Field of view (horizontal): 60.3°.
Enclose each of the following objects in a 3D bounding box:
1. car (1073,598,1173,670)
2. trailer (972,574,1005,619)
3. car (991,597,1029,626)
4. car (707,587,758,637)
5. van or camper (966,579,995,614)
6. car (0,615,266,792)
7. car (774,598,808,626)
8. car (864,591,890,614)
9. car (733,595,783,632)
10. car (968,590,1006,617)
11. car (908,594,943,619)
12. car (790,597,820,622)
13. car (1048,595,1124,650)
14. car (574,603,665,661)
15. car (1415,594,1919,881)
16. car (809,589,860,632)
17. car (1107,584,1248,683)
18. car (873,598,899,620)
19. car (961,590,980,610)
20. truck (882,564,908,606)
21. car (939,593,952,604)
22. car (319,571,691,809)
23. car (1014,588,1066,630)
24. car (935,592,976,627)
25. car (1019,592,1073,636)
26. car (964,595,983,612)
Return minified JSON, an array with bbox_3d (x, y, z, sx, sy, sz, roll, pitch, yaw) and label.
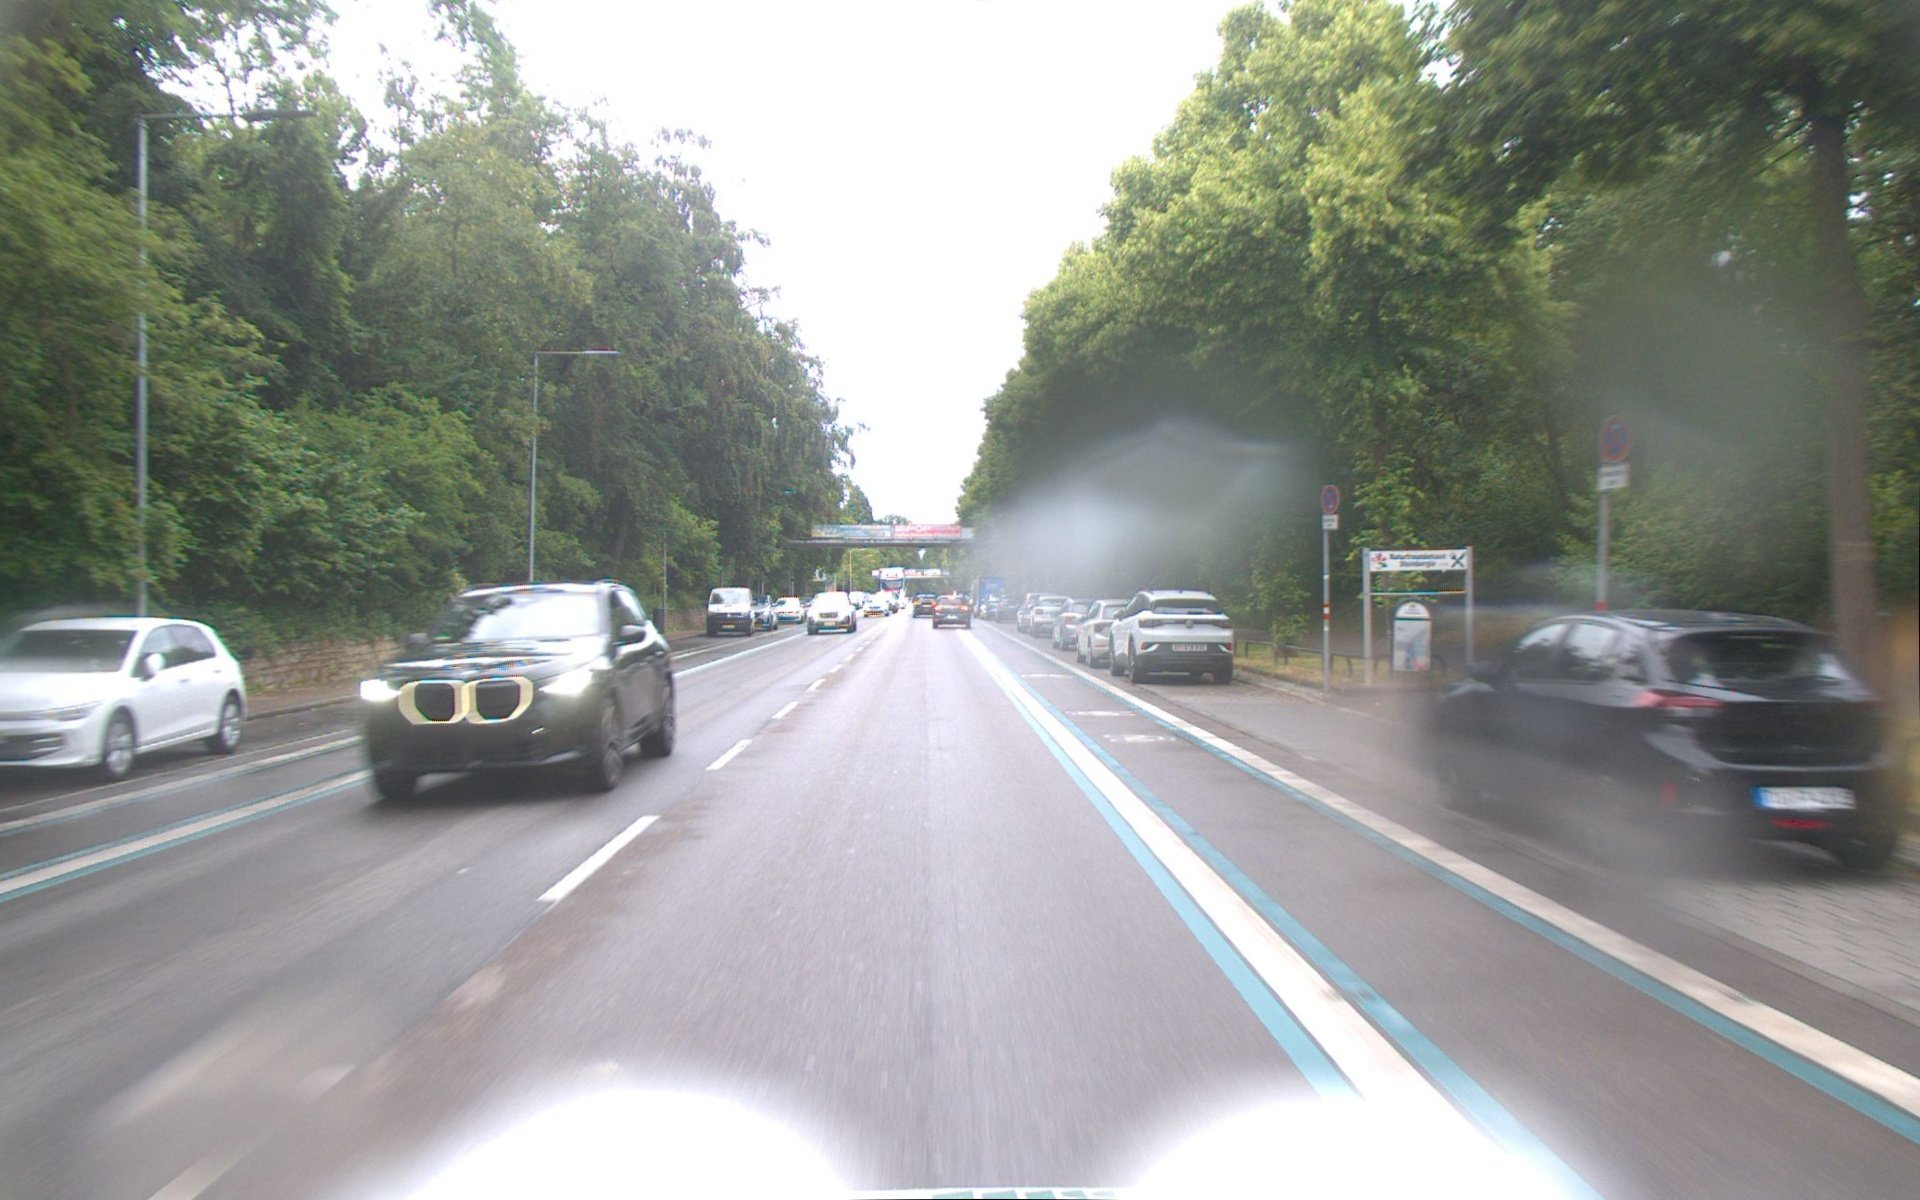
[{"bbox_3d":[3.571,0.716,36.815,1.664,1.479,3.944,1,0,-3],"label":"car"},{"bbox_3d":[1.790,-0.231,104.856,1.913,2.807,4.006,0,0,-1],"label":"trailer"},{"bbox_3d":[2.707,0.608,90.123,1.788,1.529,4.569,1,0,-2],"label":"car"},{"bbox_3d":[-9.545,0.472,69.678,1.935,2.040,5.013,0,0,-6],"label":"car"},{"bbox_3d":[1.633,-0.255,135.846,2.001,2.777,6.897,1,0,-2],"label":"van or camper"},{"bbox_3d":[-8.638,0.929,16.539,1.719,1.460,4.354,-1,0,-3],"label":"car"},{"bbox_3d":[-9.699,0.696,95.292,1.753,1.508,3.980,-1,1,-3],"label":"car"},{"bbox_3d":[-5.756,0.176,114.891,1.740,1.491,4.061,-2,0,-2],"label":"car"},{"bbox_3d":[-9.560,0.627,78.605,1.970,1.633,4.778,-1,1,-2],"label":"car"},{"bbox_3d":[1.580,0.194,99.040,1.862,1.574,4.752,1,0,-4],"label":"car"},{"bbox_3d":[-2.250,0.415,106.765,2.097,1.518,4.495,1,0,-3],"label":"car"},{"bbox_3d":[-9.875,0.613,105.743,1.795,1.502,4.037,-1,1,-4],"label":"car"},{"bbox_3d":[3.544,0.603,47.148,1.664,1.479,4.095,1,0,-3],"label":"car"},{"bbox_3d":[-9.196,0.830,44.893,1.656,1.429,4.027,0,1,0],"label":"car"},{"bbox_3d":[4.435,0.721,10.799,1.661,1.502,3.996,0,0,-3],"label":"car"},{"bbox_3d":[-5.118,0.387,67.915,1.914,1.667,4.443,-1,1,-2],"label":"car"},{"bbox_3d":[3.952,0.563,30.758,1.953,1.691,4.562,-1,0,-1],"label":"car"},{"bbox_3d":[-5.814,0.714,130.205,1.921,1.645,4.464,-1,0,-1],"label":"car"},{"bbox_3d":[1.057,-0.048,175.366,1.887,2.057,4.662,1,0,-1],"label":"car"},{"bbox_3d":[-6.655,-1.535,169.009,2.467,4.117,4.914,-3,0,-2],"label":"truck"},{"bbox_3d":[-2.075,-0.218,235.866,1.695,1.611,4.036,-1,0,0],"label":"car"},{"bbox_3d":[-3.683,0.639,14.308,1.997,1.678,4.476,-2,0,-1],"label":"car"},{"bbox_3d":[3.191,0.348,66.868,1.718,1.625,4.738,1,0,-2],"label":"car"},{"bbox_3d":[-0.212,0.401,75.412,1.781,1.534,4.138,1,0,0],"label":"car"},{"bbox_3d":[3.130,0.501,60.692,1.663,1.540,4.468,1,0,-1],"label":"car"},{"bbox_3d":[1.248,0.323,156.946,1.720,1.617,4.497,1,0,-1],"label":"car"}]
